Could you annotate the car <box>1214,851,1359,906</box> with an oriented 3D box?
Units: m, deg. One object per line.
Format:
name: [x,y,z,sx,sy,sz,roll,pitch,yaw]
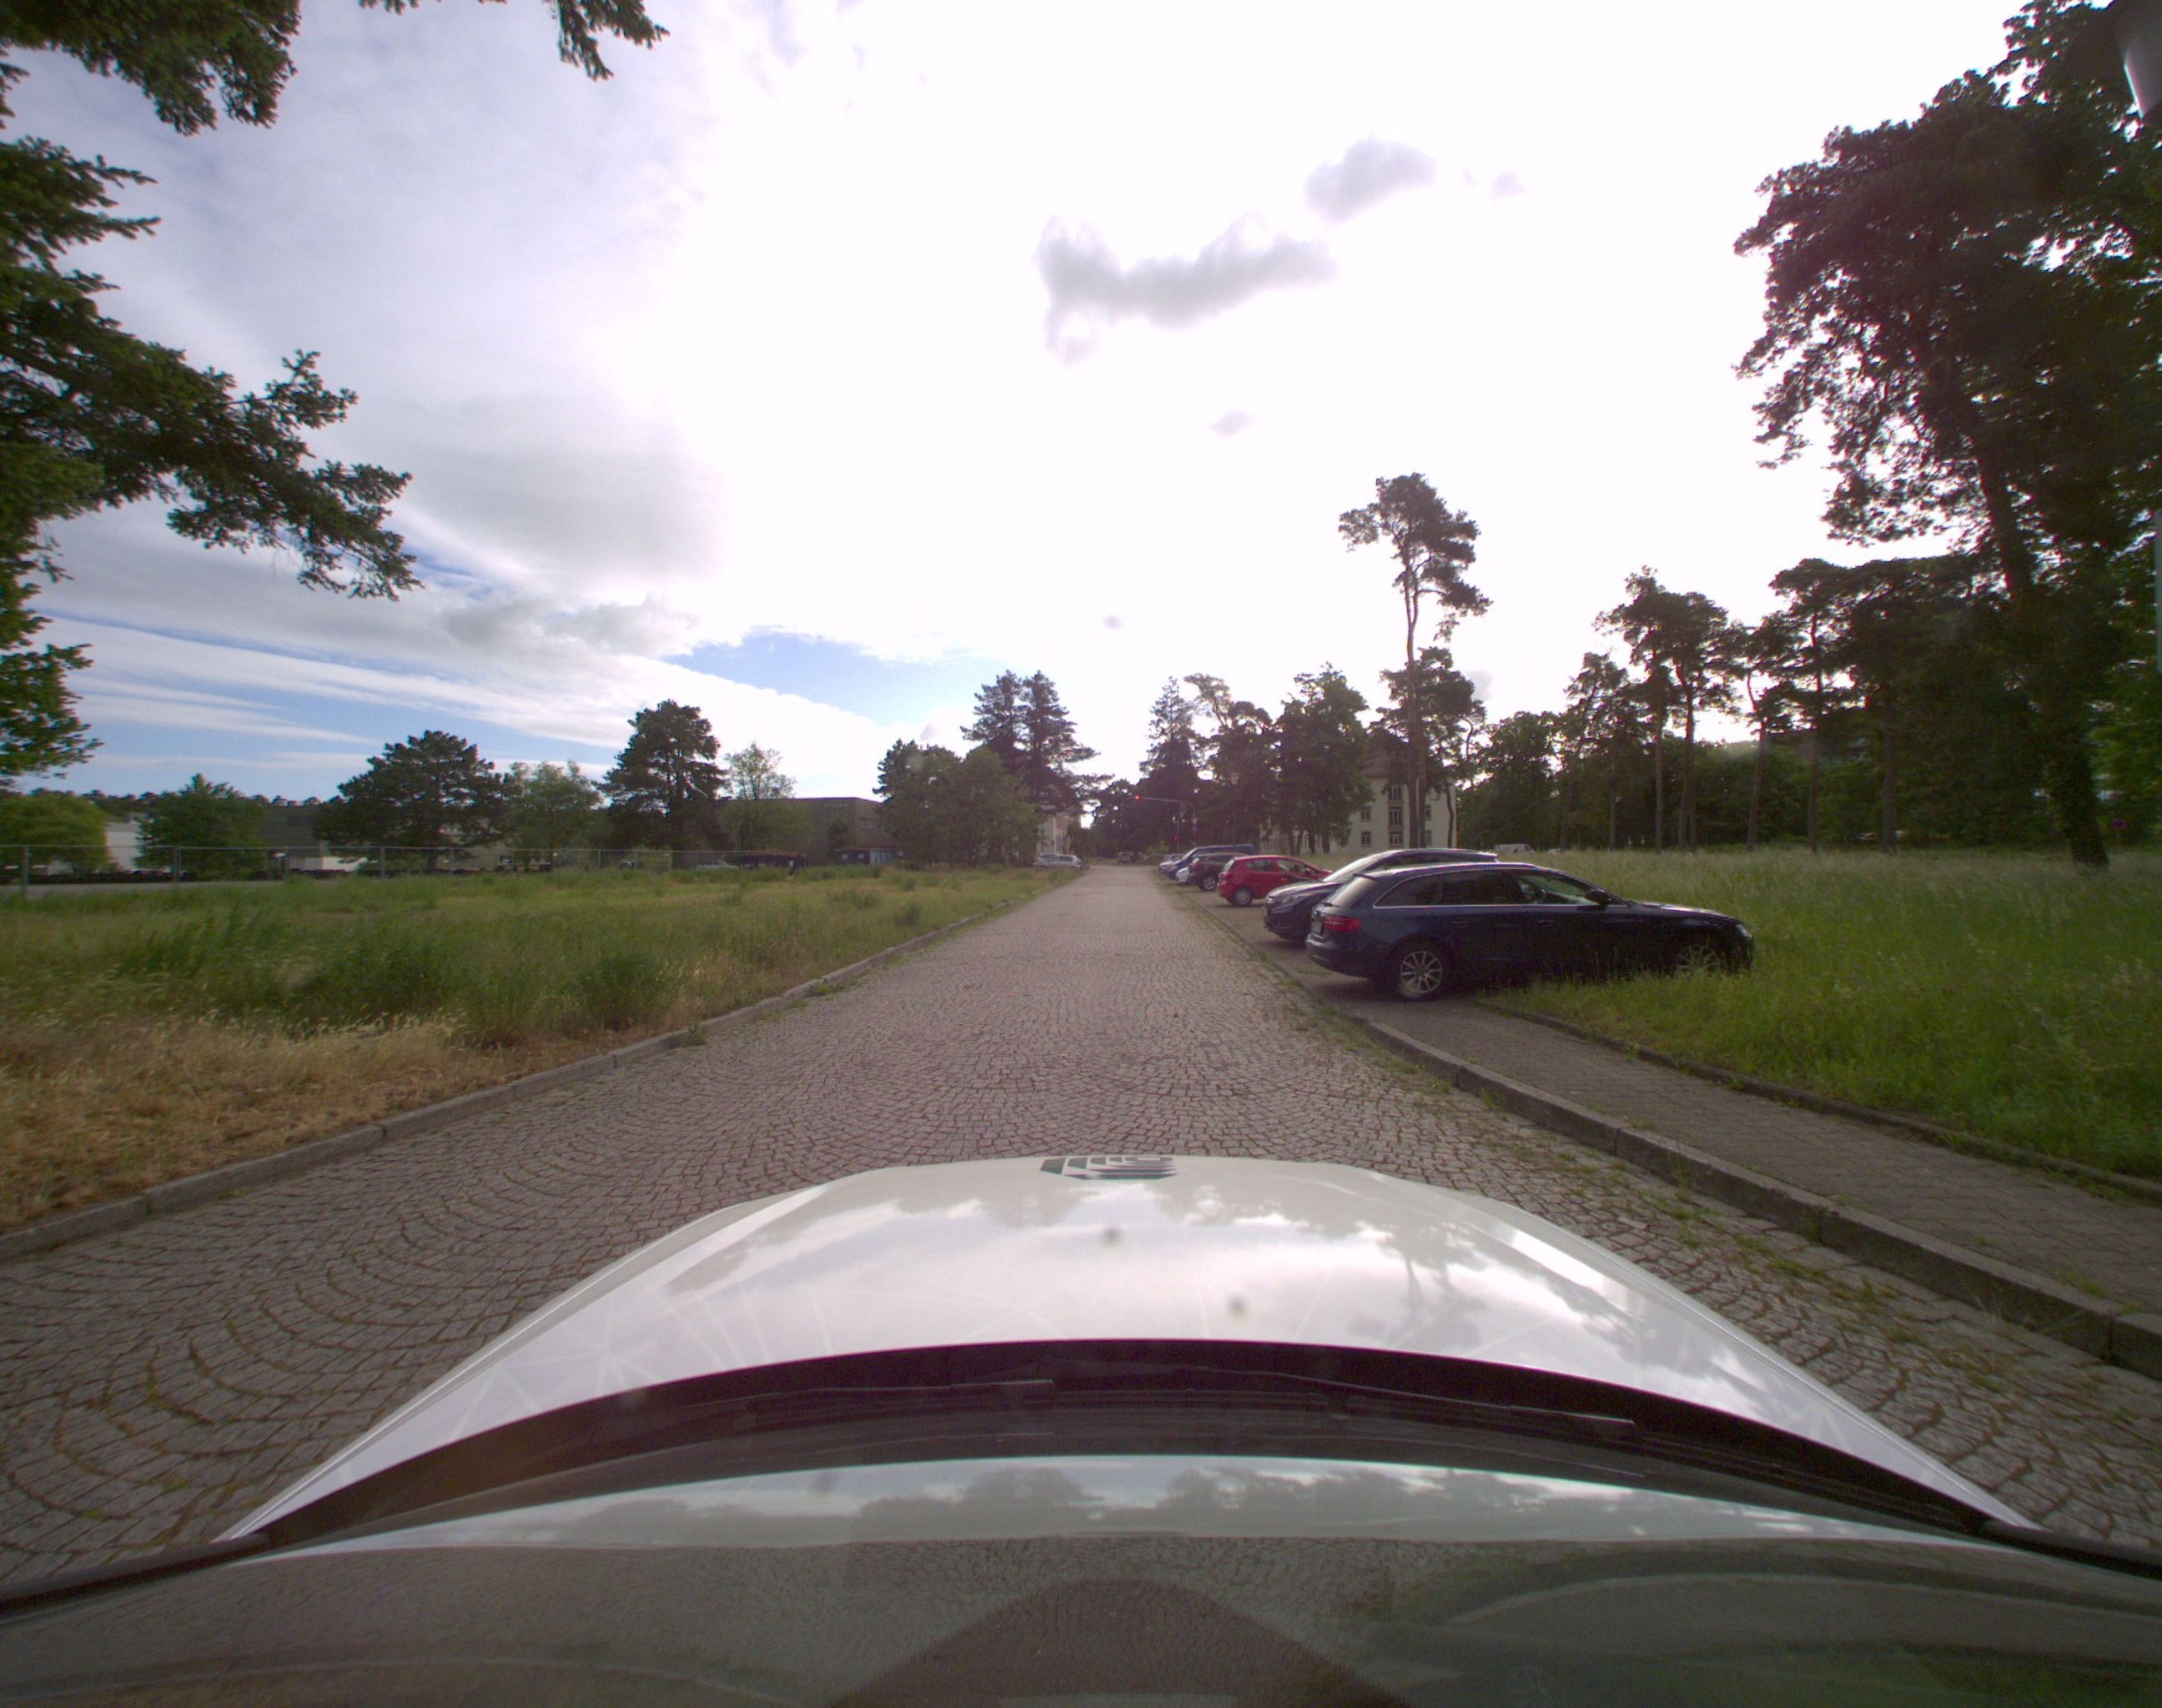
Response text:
car: [6.093,0.712,24.446,3.908,1.496,1.785,-2,0,1]

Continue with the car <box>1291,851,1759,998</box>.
car: [4.816,0.745,9.432,4.336,1.439,1.929,-2,0,5]

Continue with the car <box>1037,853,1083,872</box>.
car: [-1.724,0.673,66.920,3.708,1.481,1.673,1,0,0]

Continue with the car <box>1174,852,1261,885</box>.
car: [6.841,0.718,41.106,4.084,1.479,1.721,-2,0,0]

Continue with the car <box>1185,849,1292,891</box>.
car: [6.660,0.654,34.745,4.188,1.595,1.953,-2,0,1]

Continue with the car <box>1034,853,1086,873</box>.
car: [-1.797,0.741,69.525,4.288,1.554,1.810,-2,0,-3]

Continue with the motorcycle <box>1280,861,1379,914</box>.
motorcycle: [6.064,0.817,19.944,2.222,1.202,0.568,-2,0,1]

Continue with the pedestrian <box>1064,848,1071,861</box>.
pedestrian: [-2.194,0.091,132.634,1.070,1.959,1.122,1,0,3]

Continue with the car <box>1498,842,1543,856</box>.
car: [63.594,-0.699,117.860,5.277,2.019,2.108,1,0,4]

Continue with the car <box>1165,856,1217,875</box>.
car: [7.722,0.790,57.347,3.570,1.223,1.630,-2,0,4]

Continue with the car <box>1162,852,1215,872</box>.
car: [8.839,0.637,67.338,4.124,1.463,1.632,-2,0,-2]

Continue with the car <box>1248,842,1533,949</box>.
car: [5.215,0.673,14.163,4.229,1.623,1.887,-2,0,1]

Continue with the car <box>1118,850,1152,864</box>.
car: [8.880,0.498,134.395,5.375,2.101,2.172,-1,0,-9]

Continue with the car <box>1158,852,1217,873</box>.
car: [8.094,0.629,62.044,4.177,1.437,1.753,-2,0,-4]

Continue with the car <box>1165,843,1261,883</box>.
car: [7.014,0.470,43.648,4.778,2.004,1.967,-2,0,1]

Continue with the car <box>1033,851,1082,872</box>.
car: [-2.060,0.670,72.349,4.287,1.732,1.651,-2,0,-2]

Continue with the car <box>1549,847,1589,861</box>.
car: [64.108,-0.025,107.077,4.113,1.804,1.902,1,0,5]
